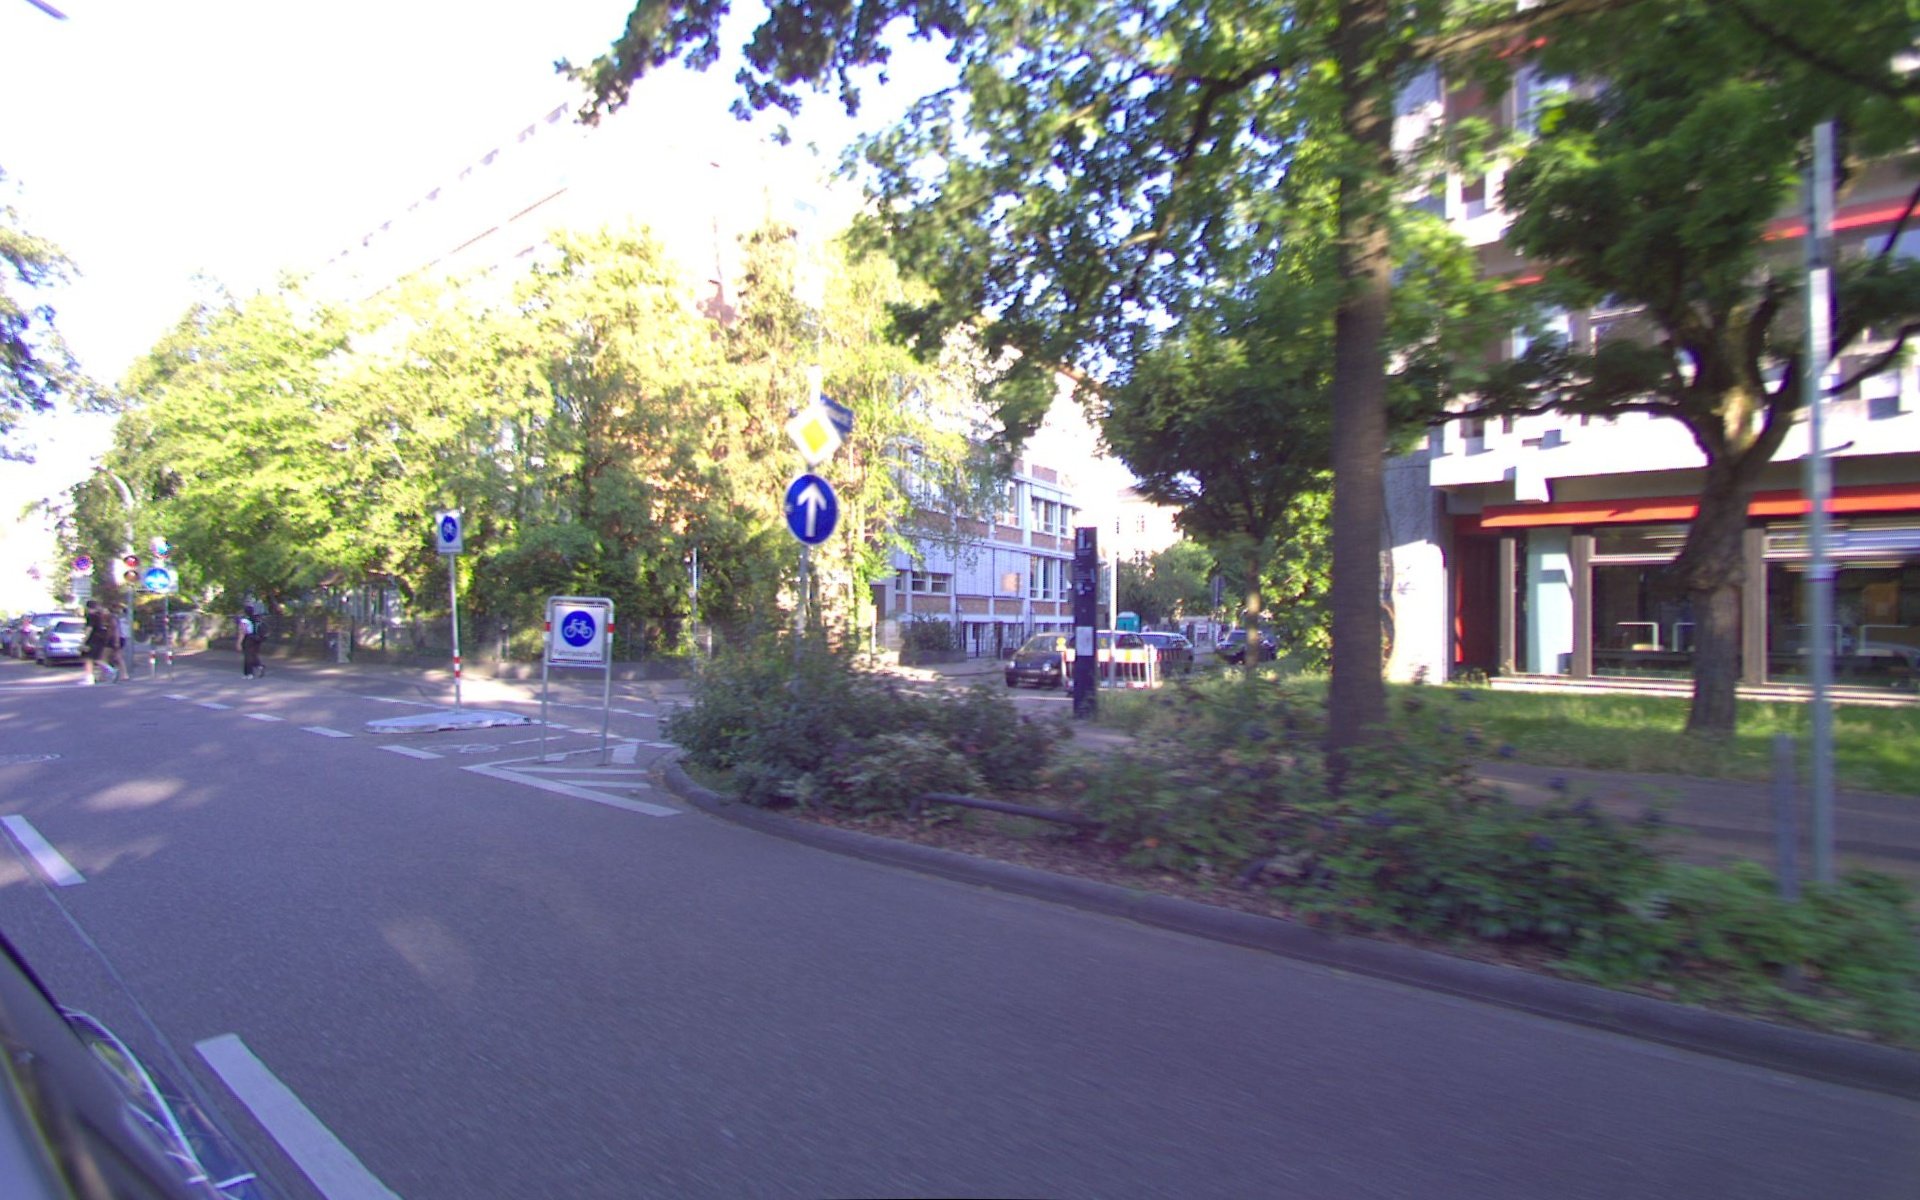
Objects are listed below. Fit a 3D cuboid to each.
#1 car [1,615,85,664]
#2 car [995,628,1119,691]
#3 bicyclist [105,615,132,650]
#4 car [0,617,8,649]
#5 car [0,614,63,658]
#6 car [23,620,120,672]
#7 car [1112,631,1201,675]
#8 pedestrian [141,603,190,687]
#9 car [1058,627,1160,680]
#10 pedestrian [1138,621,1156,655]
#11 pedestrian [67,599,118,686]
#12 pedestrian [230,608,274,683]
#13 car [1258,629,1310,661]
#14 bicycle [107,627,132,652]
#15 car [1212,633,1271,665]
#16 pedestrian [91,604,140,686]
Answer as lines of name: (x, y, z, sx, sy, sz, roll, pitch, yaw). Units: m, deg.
car: (-32.095, 1.342, 35.389, 4.107, 1.580, 1.753, -1, -1, 41)
car: (2.635, 1.523, 26.767, 1.770, 1.460, 3.922, 2, -1, 30)
bicyclist: (-35.152, 1.353, 42.289, 0.741, 1.465, 1.060, 2, -2, -45)
car: (-49.658, 1.656, 51.232, 4.107, 1.580, 1.753, -1, -1, 41)
car: (-36.155, 1.356, 39.085, 4.107, 1.580, 1.753, -1, -1, 41)
car: (-27.515, 1.375, 31.315, 4.107, 1.494, 1.753, -1, -1, 41)
car: (6.604, 1.721, 33.762, 1.770, 1.301, 3.762, 2, -1, 30)
pedestrian: (-18.103, 1.005, 23.073, 0.673, 1.849, 0.773, -1, 0, 44)
car: (4.500, 1.558, 30.198, 1.770, 1.417, 3.608, 2, -1, 30)
pedestrian: (9.608, 1.934, 51.993, 0.742, 1.753, 0.651, -1, -2, 29)
pedestrian: (-19.040, 0.909, 22.202, 0.673, 1.849, 0.773, -1, 0, 44)
pedestrian: (-16.388, 1.042, 23.425, 0.785, 1.688, 0.663, -1, 0, 44)
car: (16.656, 2.264, 51.929, 1.733, 1.564, 3.959, -1, -2, 30)
bicycle: (-35.189, 1.654, 42.355, 0.617, 1.021, 2.148, 2, -2, -45)
car: (12.207, 2.100, 43.735, 1.623, 1.301, 3.762, -1, -2, 30)
pedestrian: (-19.505, 1.021, 23.376, 0.673, 1.849, 0.773, -1, 0, 44)
